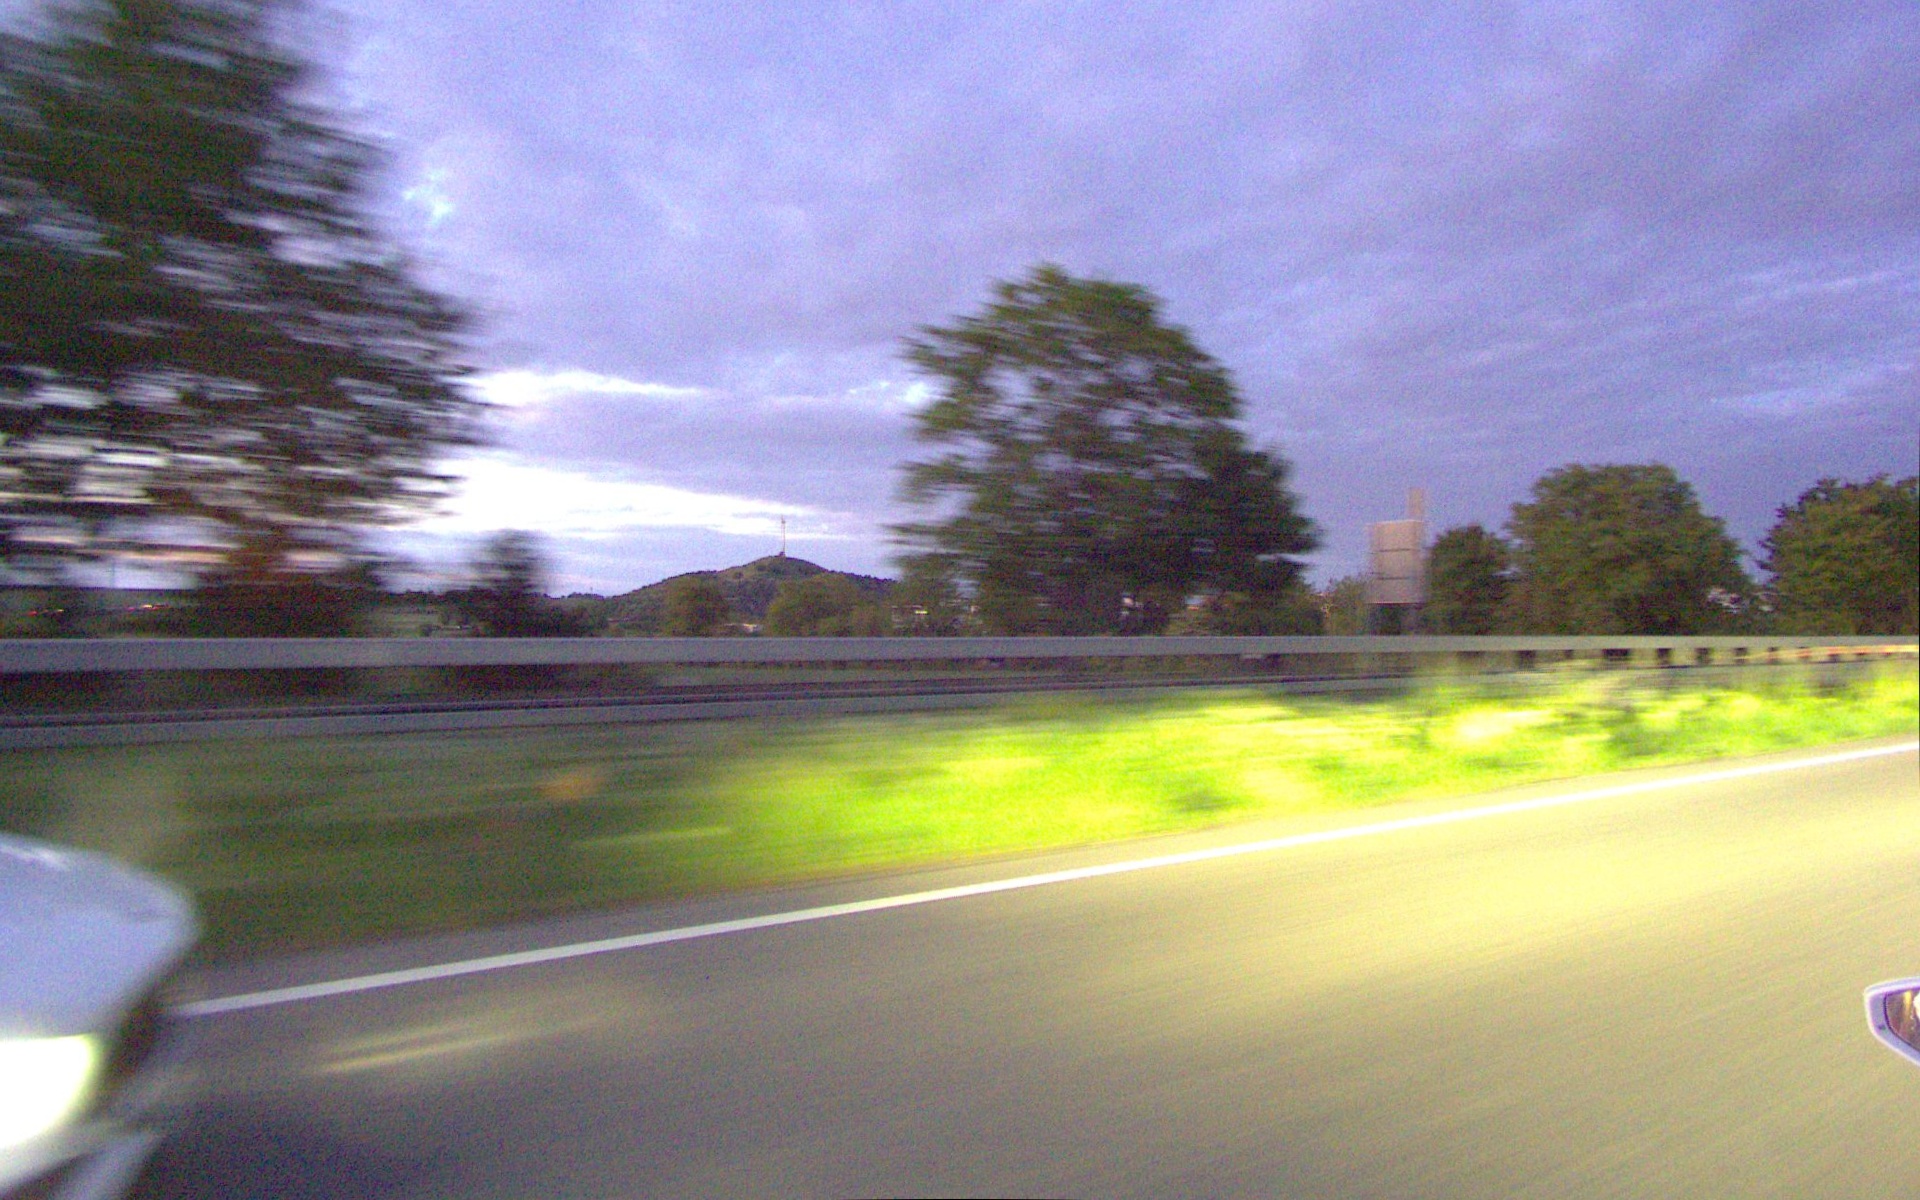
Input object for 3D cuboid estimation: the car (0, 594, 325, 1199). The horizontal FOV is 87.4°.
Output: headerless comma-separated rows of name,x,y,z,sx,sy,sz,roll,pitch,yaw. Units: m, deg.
car,-3.464,0.704,1.137,4.526,1.510,1.634,2,0,-30
